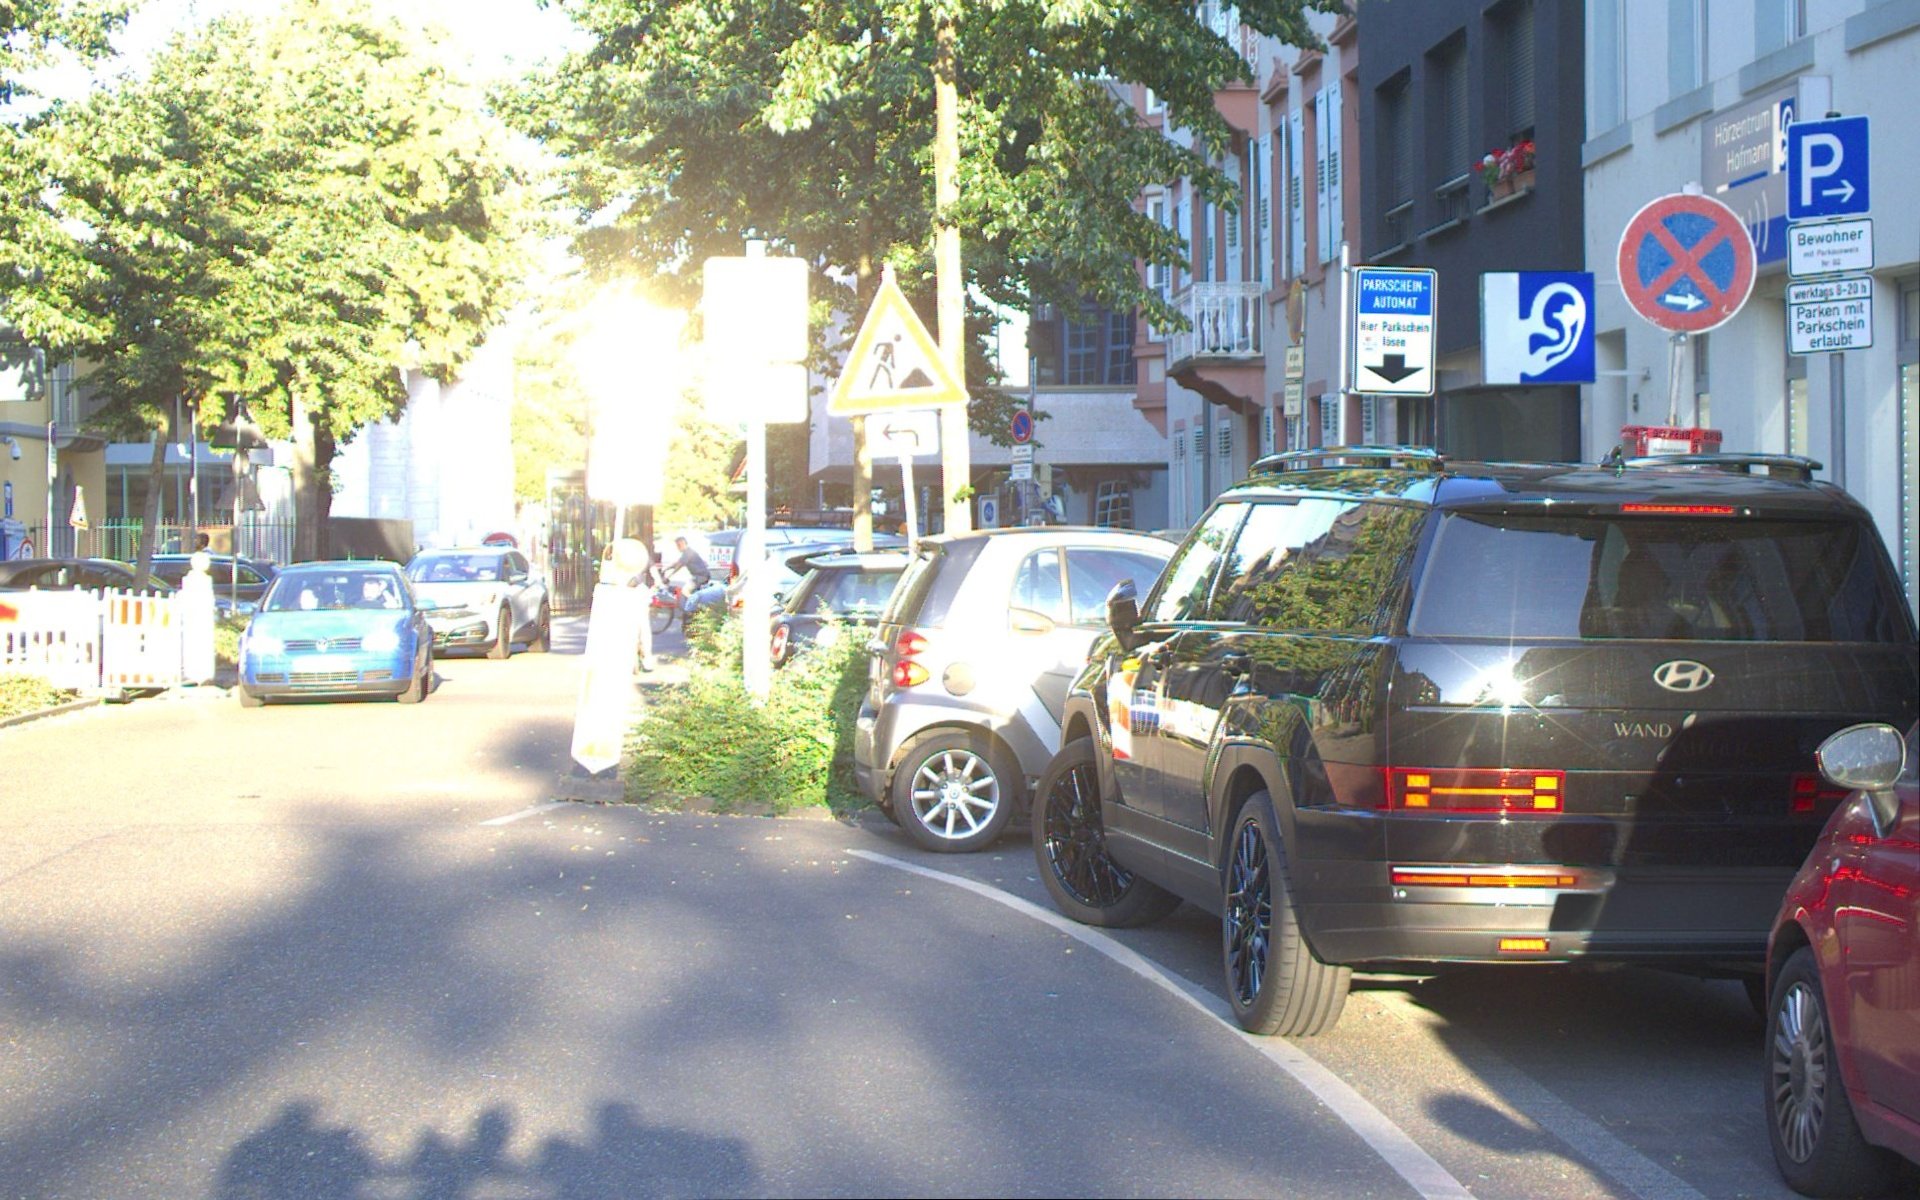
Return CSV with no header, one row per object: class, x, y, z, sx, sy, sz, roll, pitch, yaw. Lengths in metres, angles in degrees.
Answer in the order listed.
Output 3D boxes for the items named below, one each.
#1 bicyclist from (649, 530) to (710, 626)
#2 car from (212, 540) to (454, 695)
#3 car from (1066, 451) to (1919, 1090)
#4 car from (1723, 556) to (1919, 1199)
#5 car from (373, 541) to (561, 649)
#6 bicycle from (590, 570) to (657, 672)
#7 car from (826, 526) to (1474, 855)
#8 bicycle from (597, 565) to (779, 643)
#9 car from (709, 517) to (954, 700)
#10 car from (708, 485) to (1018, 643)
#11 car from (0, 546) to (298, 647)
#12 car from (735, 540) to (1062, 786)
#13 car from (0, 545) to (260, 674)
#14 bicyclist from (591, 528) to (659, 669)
bicyclist,-5.037,-0.397,61.620,1.004,1.690,0.783,-1,1,-8
car,-6.258,0.129,34.757,1.838,1.436,4.332,-1,1,-3
car,1.585,0.436,11.359,1.824,1.689,4.370,1,1,-7
car,2.694,0.665,6.674,1.587,1.478,3.267,1,1,-2
car,-7.108,-0.089,49.954,1.884,1.475,4.459,1,1,3
bicycle,-4.154,0.239,42.408,0.780,1.200,2.021,-1,1,-6
car,0.892,0.429,17.017,2.968,1.531,1.434,1,0,-7
bicycle,-4.875,0.067,61.592,3.176,1.346,0.847,-1,1,-9
car,-1.532,0.068,38.957,2.264,1.760,4.510,5,0,-7
car,-1.236,-0.489,45.296,3.987,2.007,2.000,0,1,1
car,-12.306,-0.061,52.353,4.102,1.460,1.890,1,1,-2
car,-0.561,0.406,25.672,1.993,1.662,4.510,1,1,-7
car,-10.481,0.090,40.498,4.102,1.460,1.890,1,1,-2
bicyclist,-4.111,-0.024,42.203,0.780,1.690,1.007,-1,1,-6
